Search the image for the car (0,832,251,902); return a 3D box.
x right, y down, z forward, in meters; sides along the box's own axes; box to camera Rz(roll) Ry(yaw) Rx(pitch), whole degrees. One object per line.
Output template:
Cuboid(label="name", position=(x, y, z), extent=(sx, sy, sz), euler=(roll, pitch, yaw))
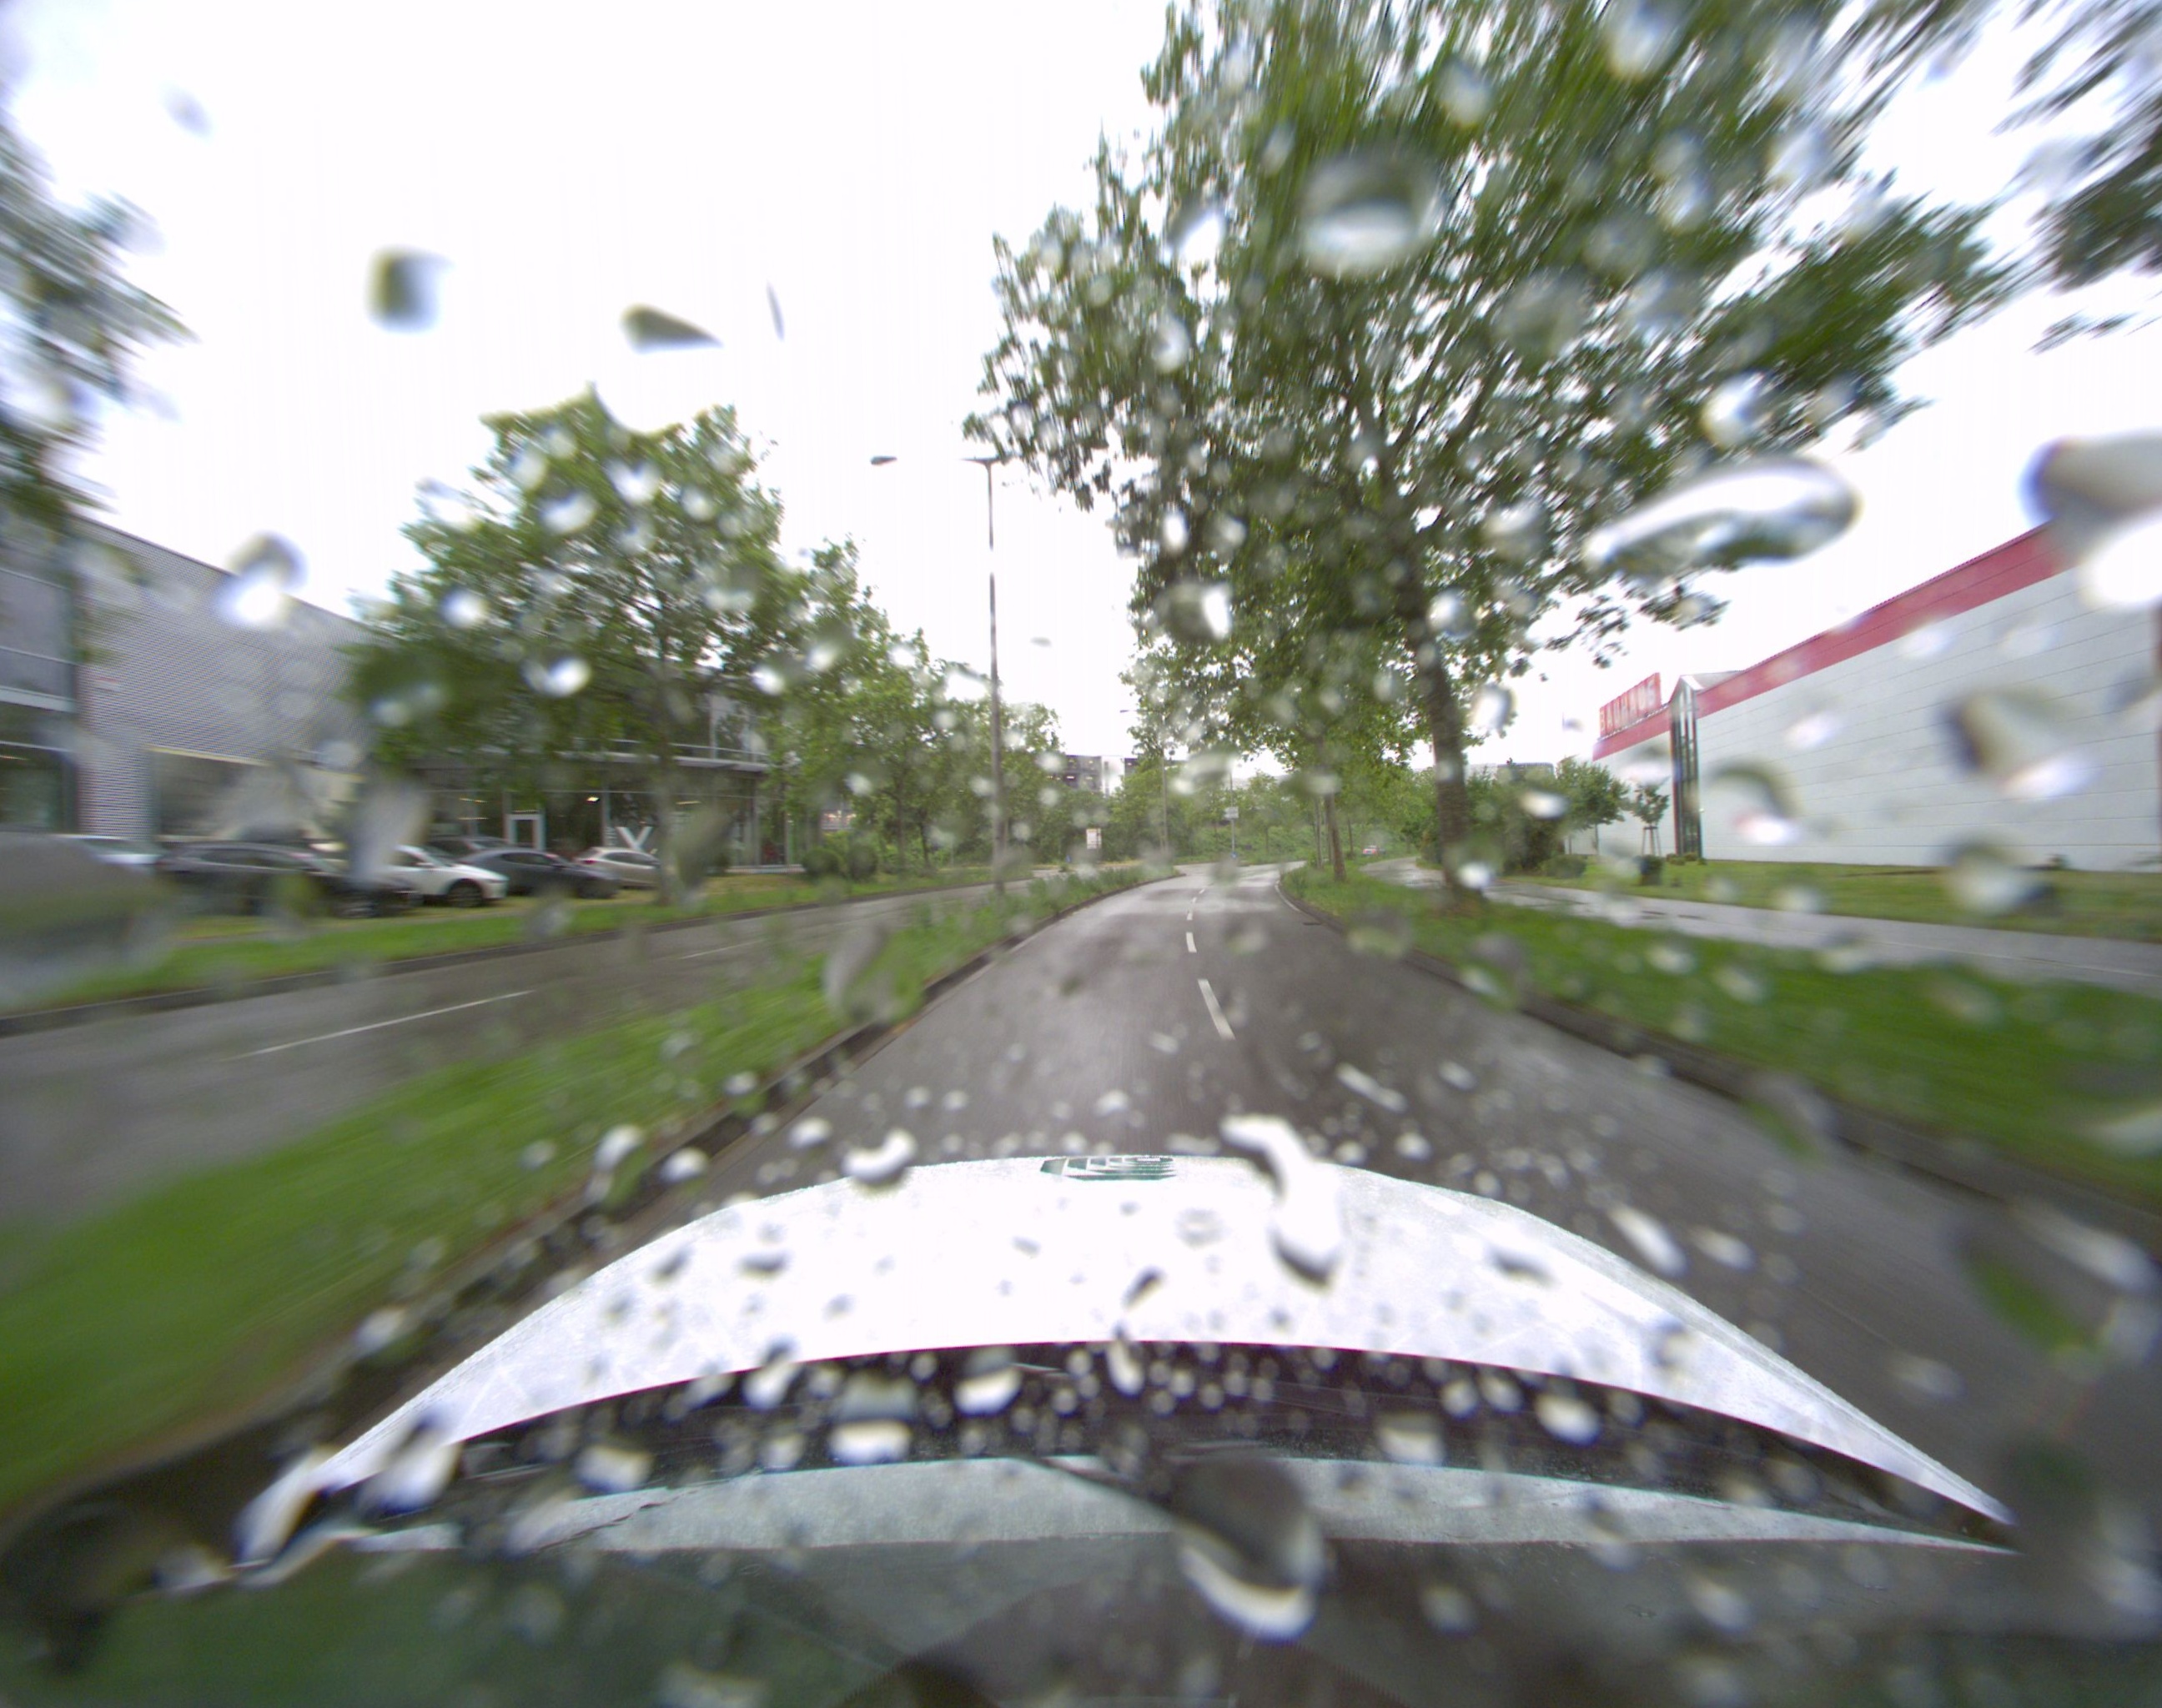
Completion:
Cuboid(label="car", position=(-22.281, 0.291, 18.636), extent=(4.413, 1.473, 1.917), euler=(-1, 0, -4))

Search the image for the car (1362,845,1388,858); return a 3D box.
Cuboid(label="car", position=(37.627, -0.279, 104.226), extent=(1.762, 1.555, 4.025), euler=(0, 2, 40))

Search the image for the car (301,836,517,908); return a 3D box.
Cuboid(label="car", position=(-17.511, 0.508, 21.428), extent=(4.150, 1.479, 1.827), euler=(5, 1, -40))

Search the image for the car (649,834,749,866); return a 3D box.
Cuboid(label="car", position=(-18.897, -0.198, 40.436), extent=(1.761, 1.476, 4.139), euler=(-1, 0, 36))

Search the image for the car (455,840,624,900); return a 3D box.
Cuboid(label="car", position=(-16.810, 0.516, 25.391), extent=(4.147, 1.422, 1.828), euler=(6, 1, -37))

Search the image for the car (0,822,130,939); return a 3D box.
Cuboid(label="car", position=(-19.010, 0.389, 14.617), extent=(4.381, 1.556, 1.859), euler=(7, 1, 33))

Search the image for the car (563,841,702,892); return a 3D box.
Cuboid(label="car", position=(-16.274, 0.484, 29.675), extent=(1.763, 1.475, 4.022), euler=(7, 1, 45))

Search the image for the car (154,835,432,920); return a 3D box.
Cuboid(label="car", position=(-17.549, 0.559, 18.477), extent=(4.144, 1.479, 1.829), euler=(6, 1, -33))
